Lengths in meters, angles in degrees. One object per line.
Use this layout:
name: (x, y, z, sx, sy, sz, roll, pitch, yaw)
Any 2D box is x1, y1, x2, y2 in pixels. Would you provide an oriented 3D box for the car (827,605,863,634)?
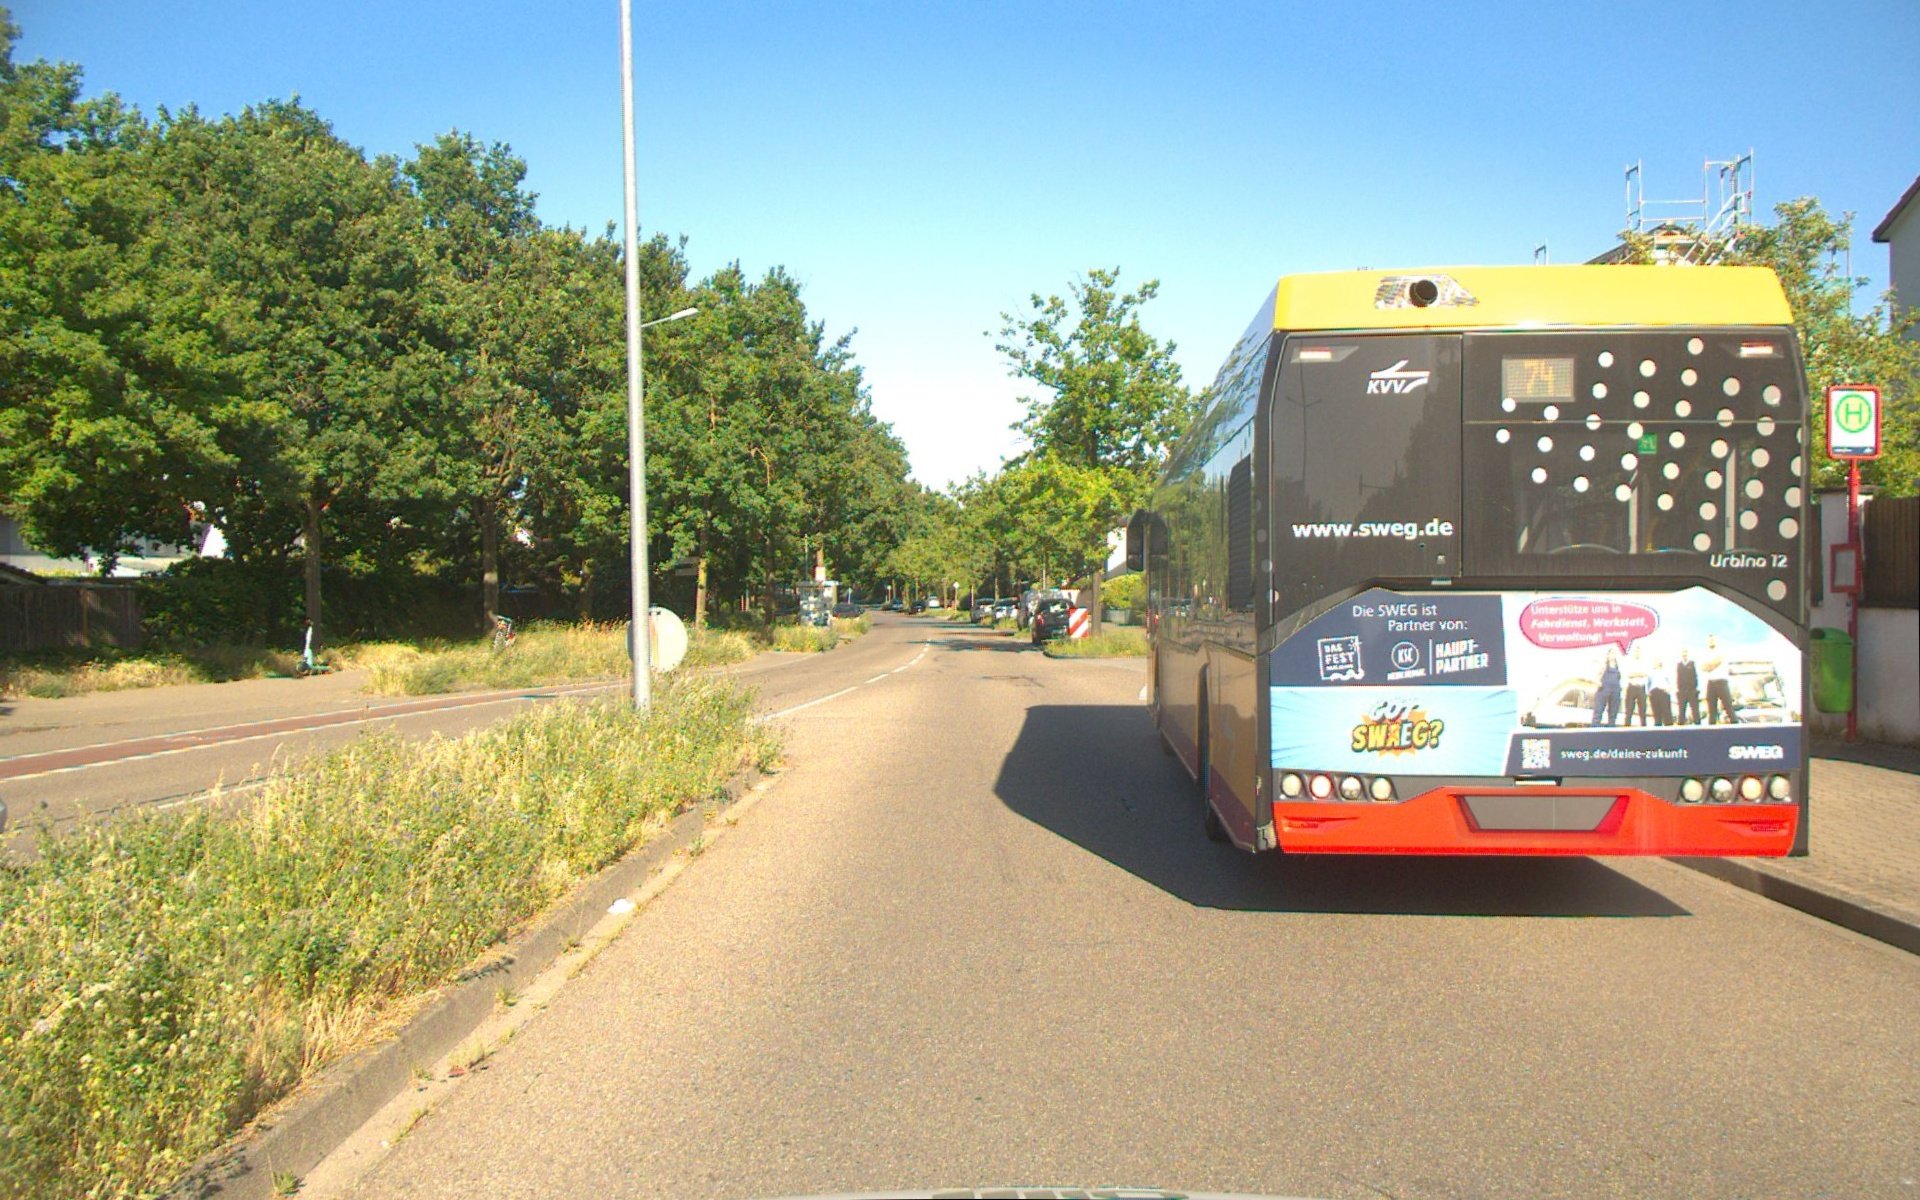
car: (-6.161, 1.008, 88.690, 1.897, 1.505, 3.996, -1, 0, -4)

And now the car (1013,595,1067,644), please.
car: (2.769, 0.671, 58.108, 1.638, 1.606, 3.751, -2, 0, -1)

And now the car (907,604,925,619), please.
car: (-4.907, 1.262, 184.993, 1.895, 1.569, 3.998, -1, 0, -3)

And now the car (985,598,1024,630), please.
car: (2.478, 0.781, 93.608, 1.897, 1.734, 3.998, -1, 0, -3)

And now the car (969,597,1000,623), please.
car: (1.699, 0.705, 116.237, 1.895, 1.773, 3.998, -1, 0, -3)

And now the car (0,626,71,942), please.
car: (-5.603, 0.907, 6.200, 1.952, 1.476, 4.401, -1, 0, 3)

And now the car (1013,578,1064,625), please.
car: (3.455, 0.064, 73.597, 1.799, 2.005, 4.756, -1, 0, -3)

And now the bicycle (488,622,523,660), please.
bicycle: (-13.443, 1.197, 48.980, 0.495, 1.072, 1.880, -1, 0, 0)

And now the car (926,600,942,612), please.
car: (-3.361, 0.722, 211.320, 1.895, 1.479, 3.997, -1, 0, -4)

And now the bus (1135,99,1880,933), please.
bus: (2.991, -0.275, 13.329, 2.699, 3.519, 12.404, -2, -1, 4)

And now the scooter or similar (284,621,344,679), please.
scooter or similar: (-14.648, 1.115, 37.522, 0.527, 1.240, 1.414, 1, 1, 16)

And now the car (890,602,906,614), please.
car: (-7.904, 1.026, 210.141, 1.895, 1.479, 3.997, -1, 0, -4)
